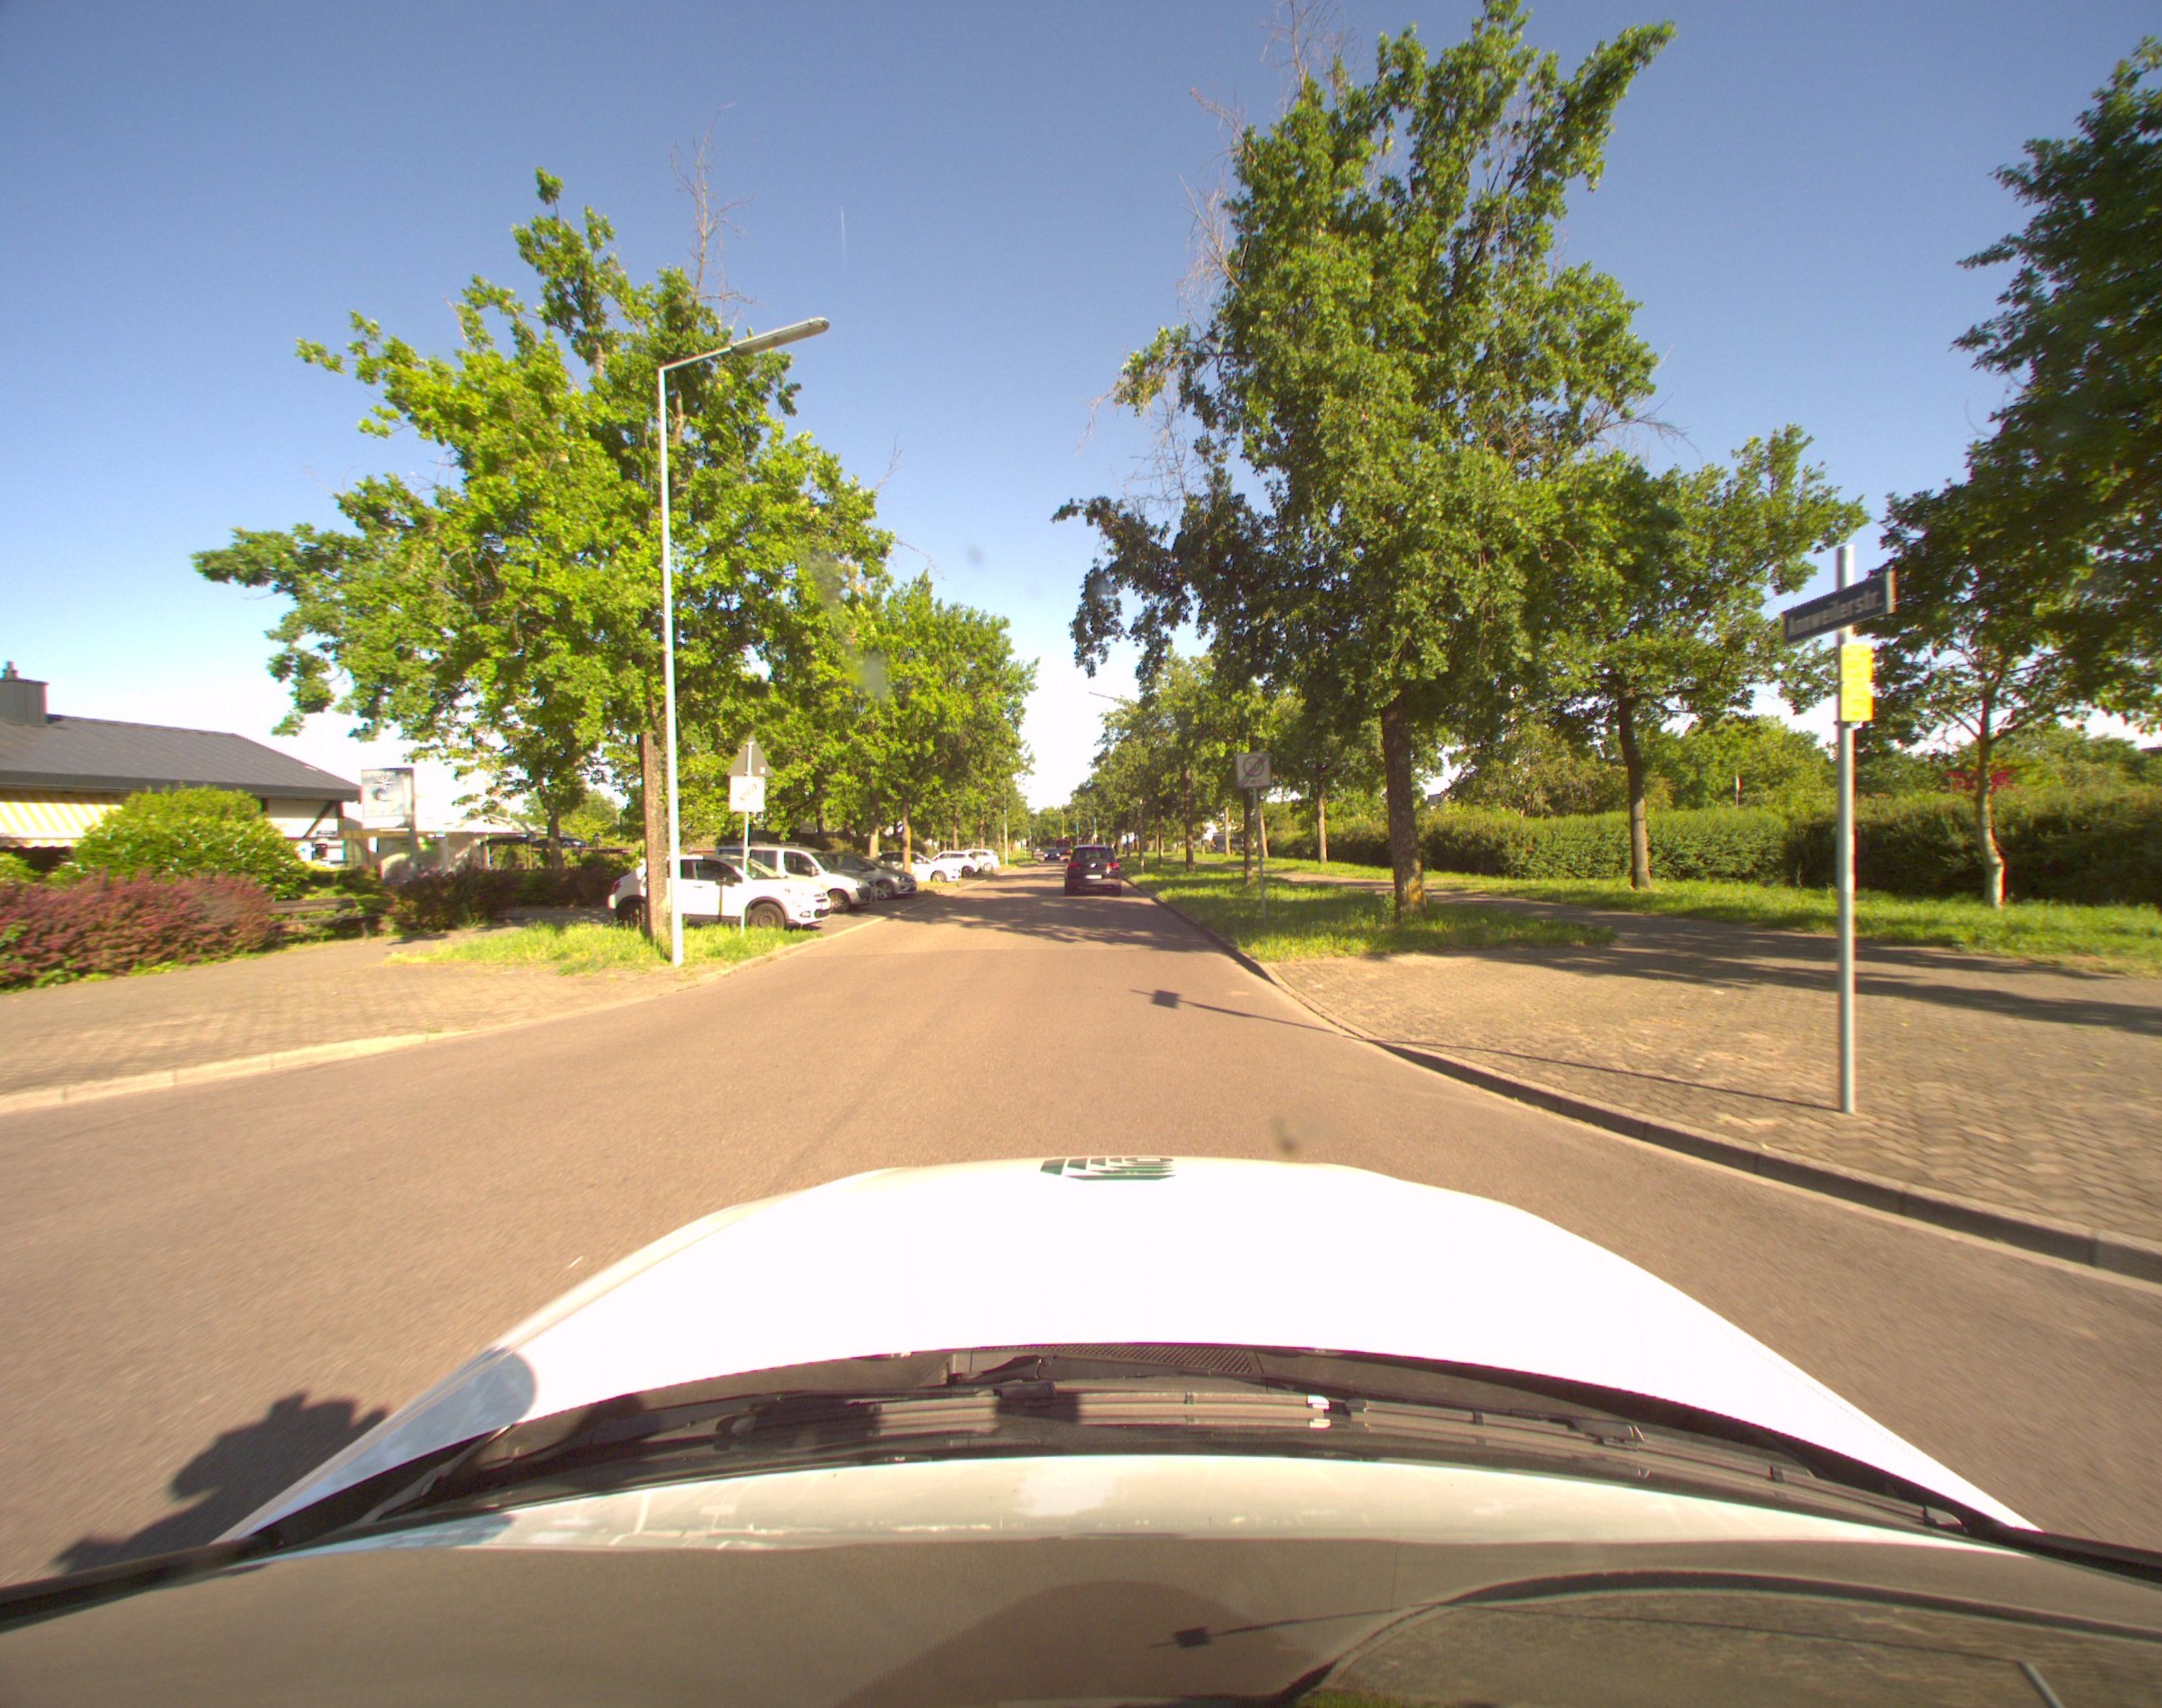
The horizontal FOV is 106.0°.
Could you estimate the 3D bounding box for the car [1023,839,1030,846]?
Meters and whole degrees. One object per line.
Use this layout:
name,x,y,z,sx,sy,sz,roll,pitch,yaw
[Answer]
car,-15.598,-3.245,232.843,1.810,1.775,3.776,-2,1,-1

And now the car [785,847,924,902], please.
car,-7.426,0.641,27.044,4.002,1.647,1.897,-2,1,0

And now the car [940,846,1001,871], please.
car,-7.840,0.306,58.087,4.002,1.647,1.811,-2,1,0

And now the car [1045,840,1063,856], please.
car,-3.023,-0.655,92.189,1.846,1.693,3.957,-2,1,1

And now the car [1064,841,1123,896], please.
car,0.370,0.433,27.347,1.832,1.636,3.957,-1,2,-1

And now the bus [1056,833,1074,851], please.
bus,-2.866,-2.148,146.433,2.918,3.003,5.739,-2,1,1

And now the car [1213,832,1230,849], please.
car,17.950,-1.729,104.254,1.982,2.013,4.010,-2,1,9

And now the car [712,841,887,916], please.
car,-7.511,0.622,22.013,4.002,1.839,1.897,-2,1,0

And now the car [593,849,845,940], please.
car,-7.249,0.783,16.649,4.227,1.622,1.897,-2,1,0

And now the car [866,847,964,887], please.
car,-7.506,0.557,37.103,4.002,1.647,1.811,-2,1,0

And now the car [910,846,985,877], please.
car,-7.729,0.409,47.531,4.002,1.647,1.811,-2,1,0

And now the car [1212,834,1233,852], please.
car,16.304,-1.313,93.884,2.043,2.013,4.008,-1,1,6
